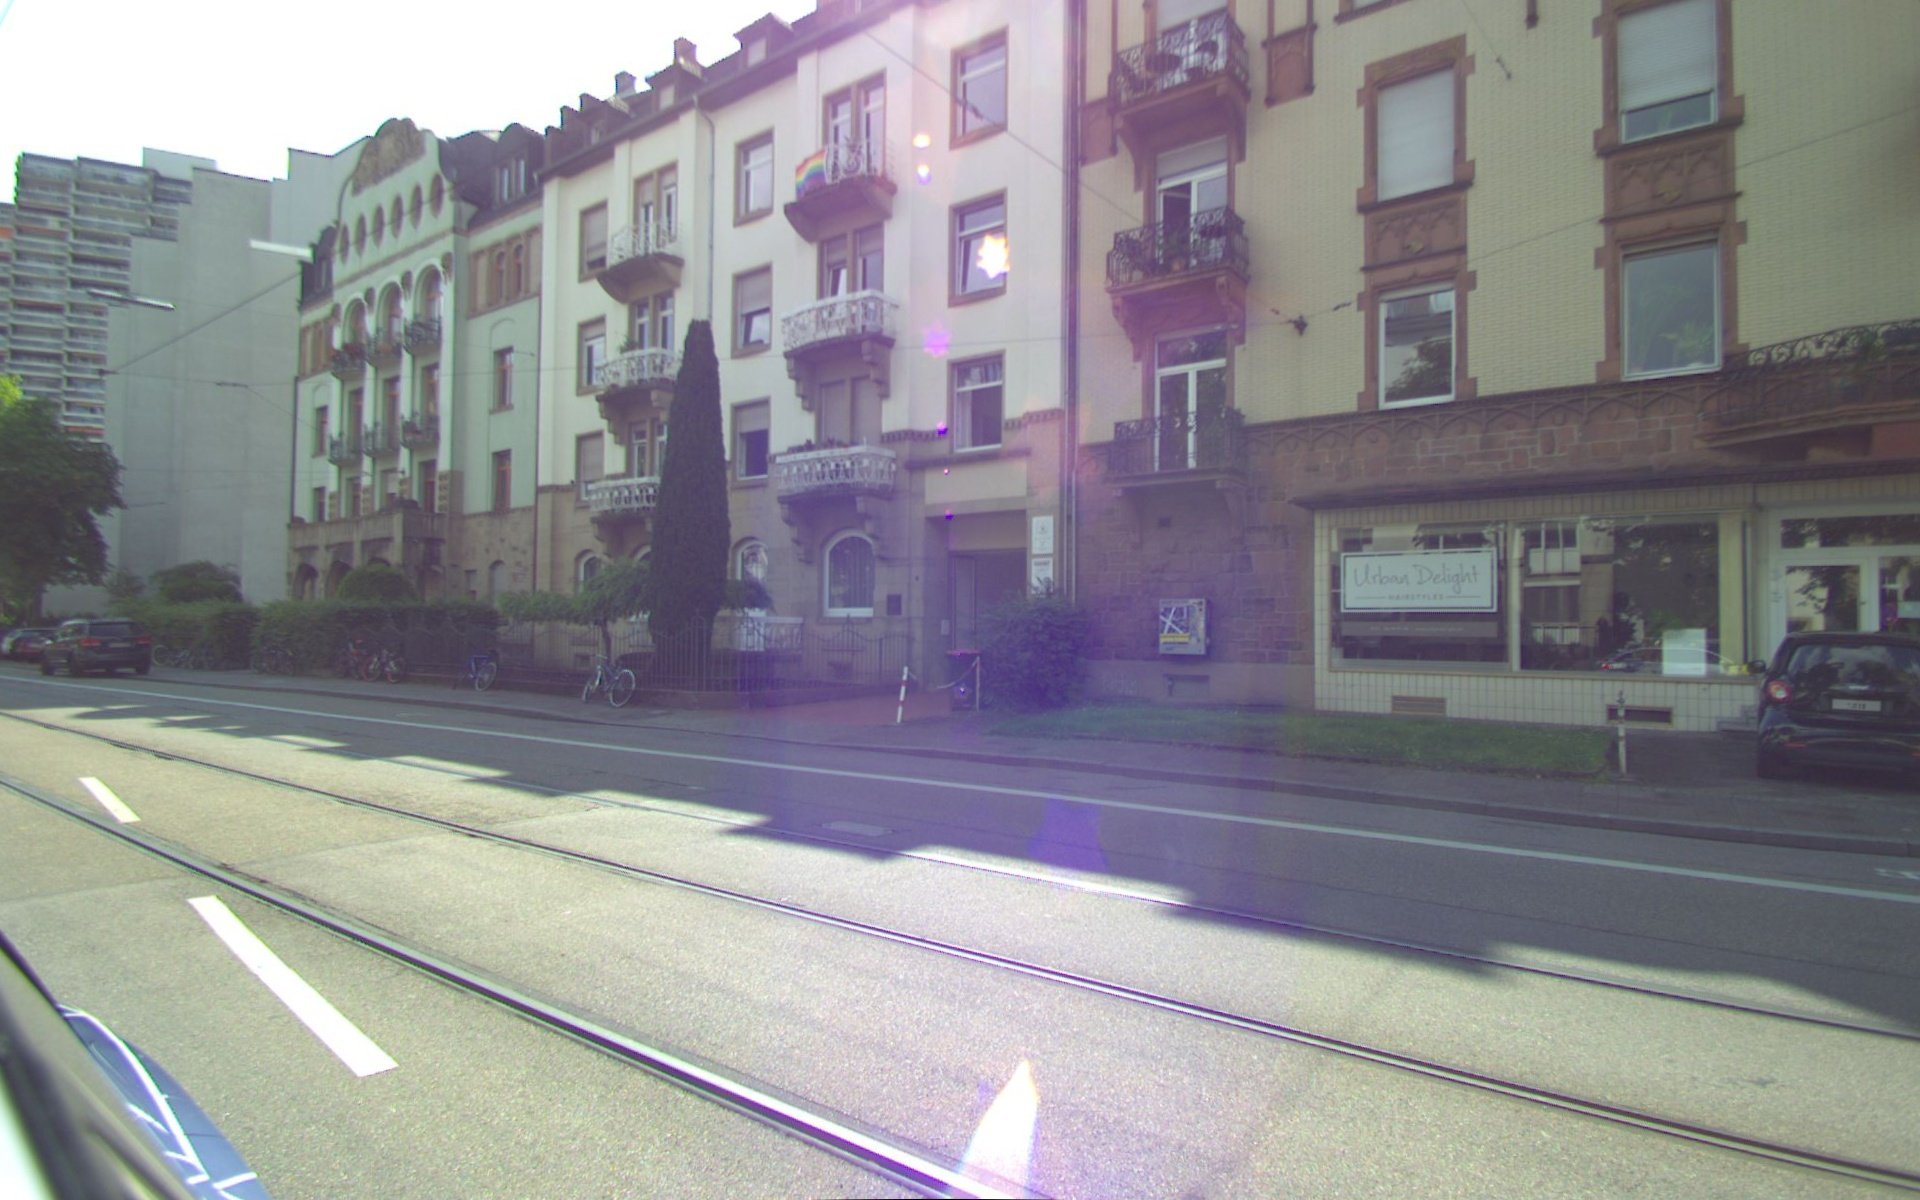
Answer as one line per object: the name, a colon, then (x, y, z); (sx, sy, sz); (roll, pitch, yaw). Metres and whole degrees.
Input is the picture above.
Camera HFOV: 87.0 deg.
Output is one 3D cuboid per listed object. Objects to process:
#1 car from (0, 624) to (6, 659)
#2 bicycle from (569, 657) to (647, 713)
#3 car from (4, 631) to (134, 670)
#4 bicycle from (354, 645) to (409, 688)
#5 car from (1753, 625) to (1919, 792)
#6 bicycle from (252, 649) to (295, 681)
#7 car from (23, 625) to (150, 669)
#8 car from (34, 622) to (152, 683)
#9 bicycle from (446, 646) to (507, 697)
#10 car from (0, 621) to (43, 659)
car: (-53.382, 2.185, 53.815); (1.733, 1.857, 3.619); (-1, -3, 37)
bicycle: (-6.745, 1.595, 19.349); (2.068, 0.913, 0.517); (1, -1, 45)
car: (-37.421, 2.094, 42.569); (1.633, 1.548, 3.842); (-1, -3, 38)
bicycle: (-14.427, 1.639, 25.219); (1.872, 0.993, 0.579); (0, -2, 42)
car: (9.807, 1.060, 11.093); (1.704, 1.497, 3.411); (-1, -1, 38)
bicycle: (-19.485, 1.827, 28.707); (1.872, 0.803, 0.579); (0, 0, 42)
car: (-35.117, 1.878, 40.774); (1.608, 1.652, 3.587); (-1, -2, 37)
car: (-26.403, 1.554, 30.783); (4.323, 1.724, 1.775); (-1, -3, 36)
bicycle: (-10.796, 1.575, 22.576); (1.872, 1.037, 0.532); (0, -2, 42)
car: (-50.330, 2.080, 52.413); (1.829, 1.940, 3.947); (-1, -3, 39)
